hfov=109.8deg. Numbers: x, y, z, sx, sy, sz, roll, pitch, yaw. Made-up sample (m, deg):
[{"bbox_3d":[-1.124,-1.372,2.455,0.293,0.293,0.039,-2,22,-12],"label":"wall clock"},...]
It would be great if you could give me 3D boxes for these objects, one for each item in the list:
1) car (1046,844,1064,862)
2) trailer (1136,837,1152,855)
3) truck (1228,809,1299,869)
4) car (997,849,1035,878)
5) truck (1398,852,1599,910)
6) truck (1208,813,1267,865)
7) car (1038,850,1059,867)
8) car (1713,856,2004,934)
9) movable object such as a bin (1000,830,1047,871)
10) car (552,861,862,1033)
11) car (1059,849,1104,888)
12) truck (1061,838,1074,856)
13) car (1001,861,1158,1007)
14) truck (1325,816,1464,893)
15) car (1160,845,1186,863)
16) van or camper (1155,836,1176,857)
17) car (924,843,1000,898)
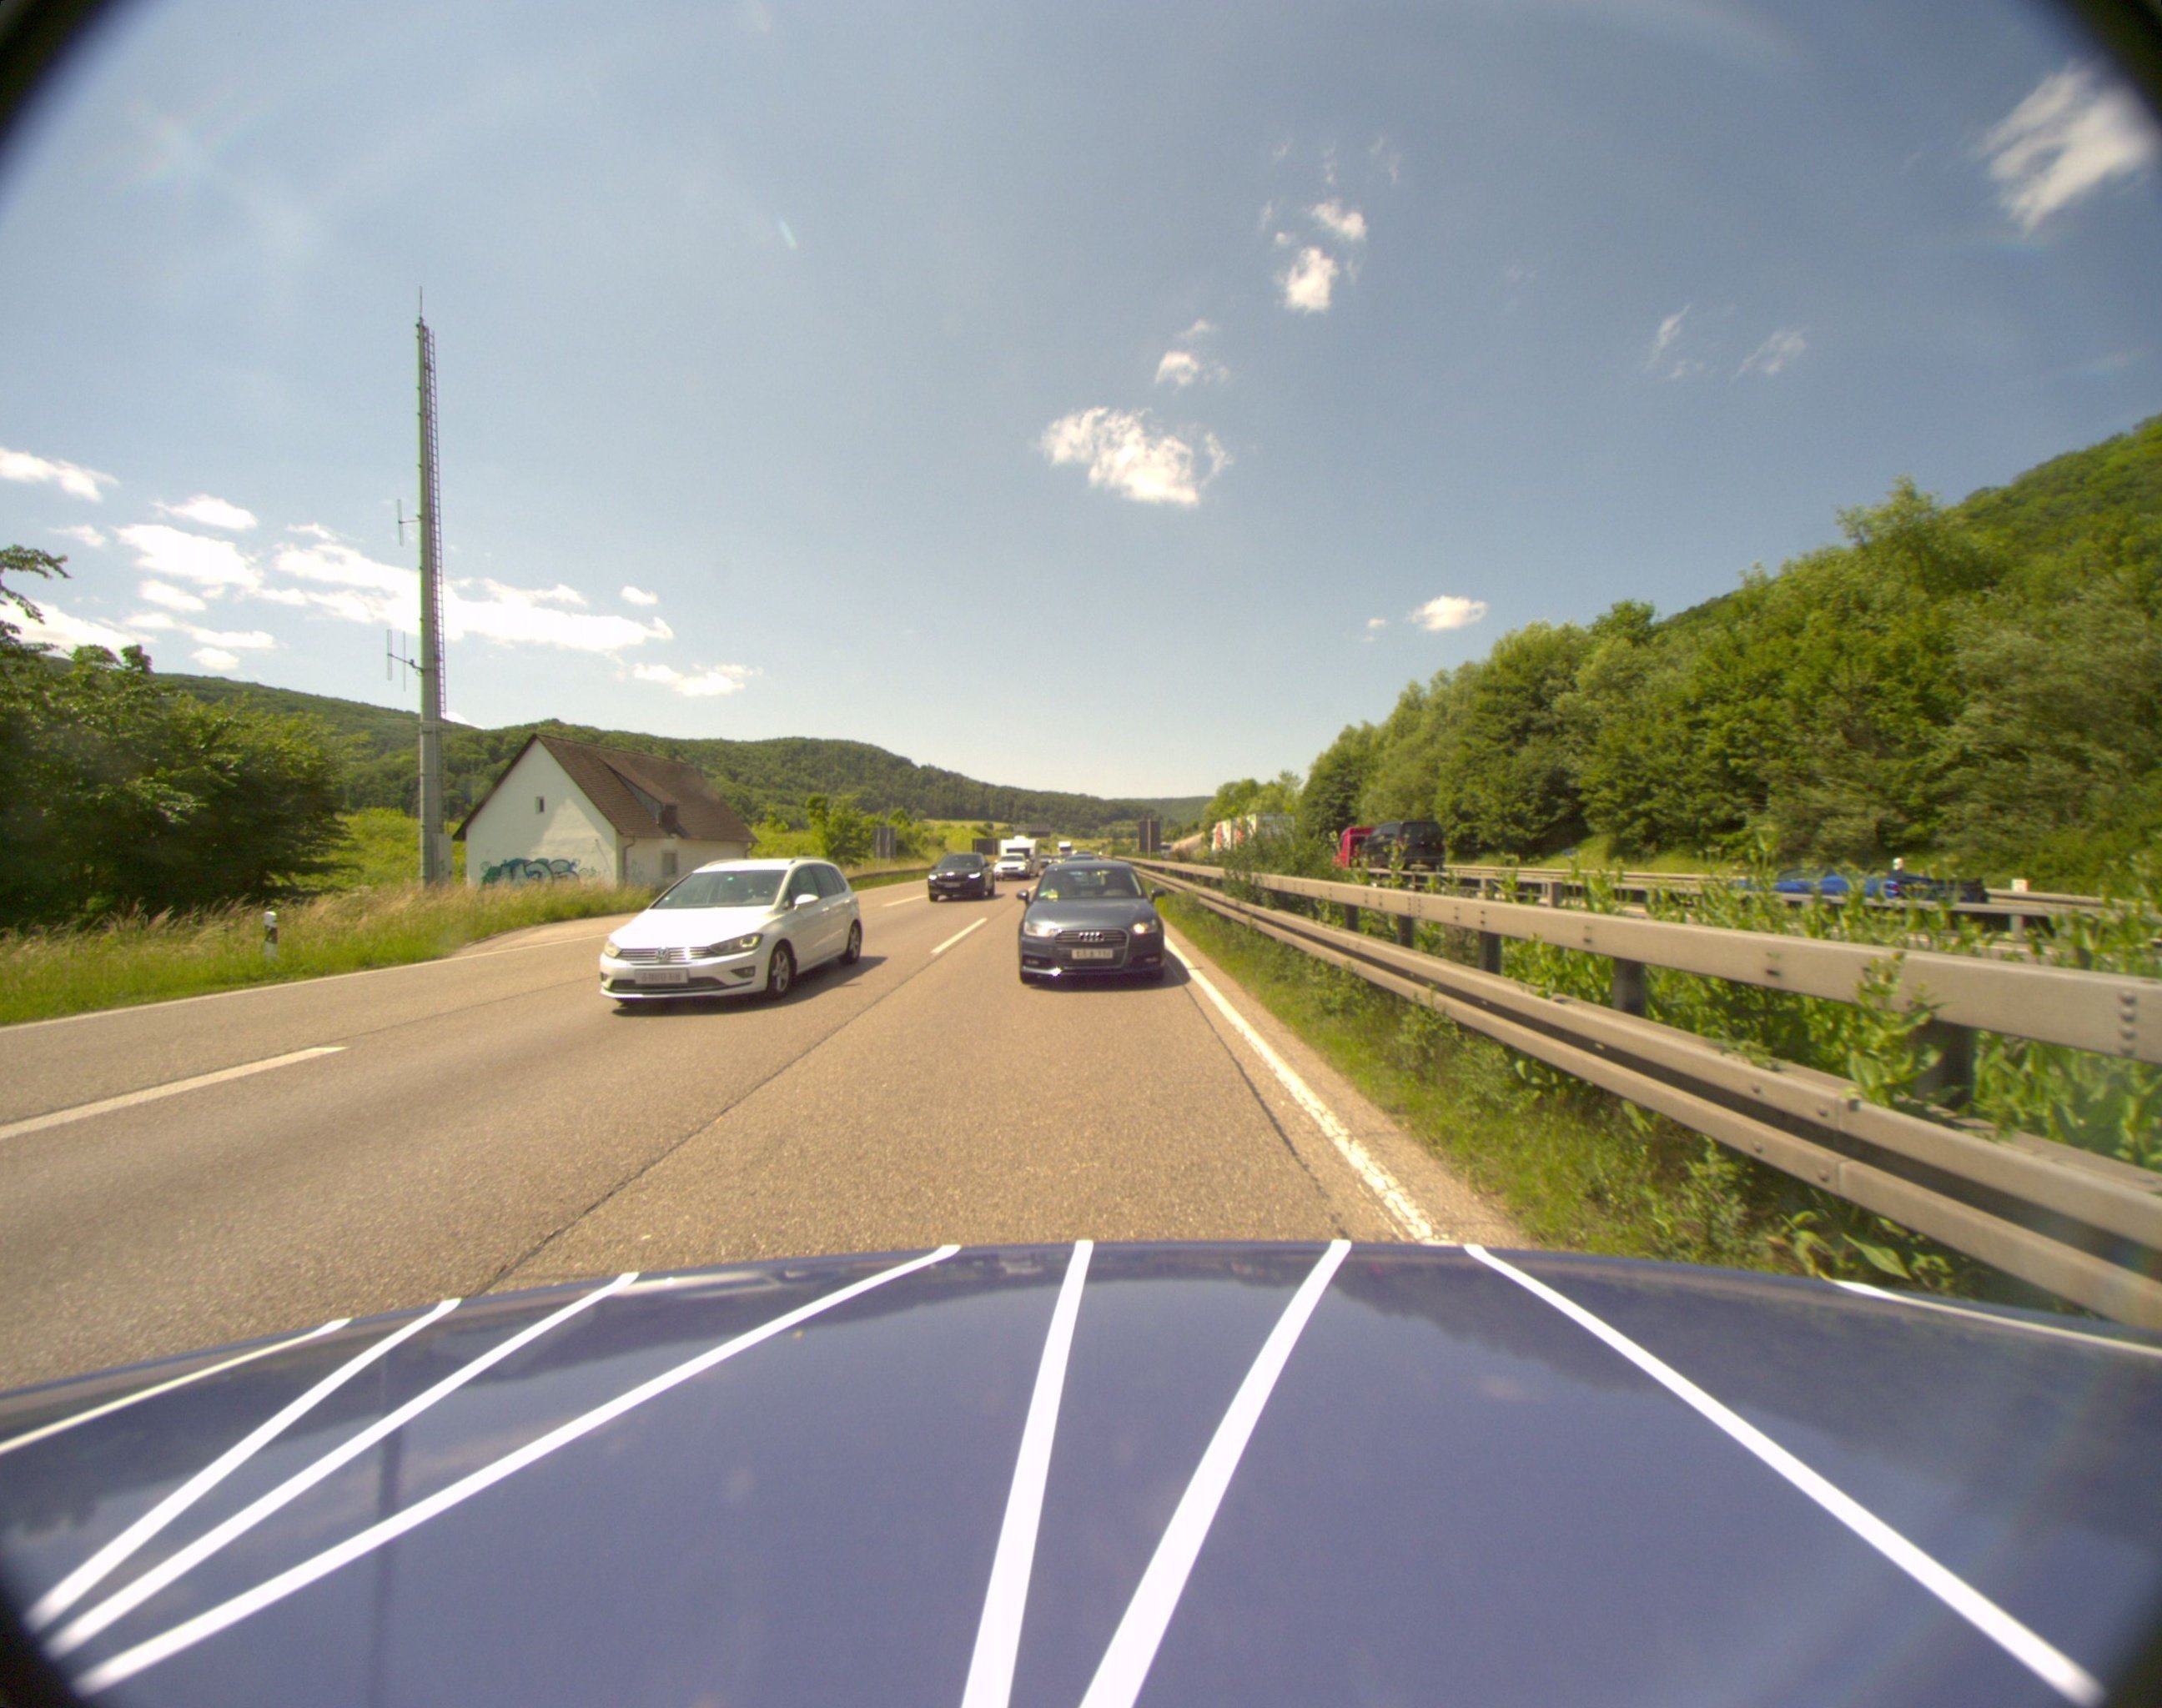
[{"bbox_3d":[-3.125,-0.144,91.825,1.999,2.002,3.999,-1,1,-1],"label":"car"},{"bbox_3d":[14.363,-1.815,173.952,2.789,3.976,14.159,-1,0,1],"label":"trailer"},{"bbox_3d":[12.908,-1.027,54.591,2.876,3.958,9.030,0,1,0],"label":"truck"},{"bbox_3d":[-3.831,0.538,45.364,1.821,1.574,4.000,-2,1,1],"label":"car"},{"bbox_3d":[11.902,0.666,22.505,2.214,1.326,7.009,-1,1,1],"label":"truck"},{"bbox_3d":[13.017,-1.203,64.273,2.876,3.983,10.169,-2,1,0],"label":"truck"},{"bbox_3d":[-3.010,0.362,71.950,1.711,1.542,4.000,-1,0,1],"label":"car"},{"bbox_3d":[16.306,0.778,16.310,1.999,1.348,4.106,-1,1,-1],"label":"car"},{"bbox_3d":[-3.867,-0.258,52.217,2.481,2.616,6.708,-2,1,1],"label":"movable object such as a bin"},{"bbox_3d":[-4.168,0.913,9.319,1.777,1.532,4.053,-2,1,-1],"label":"car"},{"bbox_3d":[0.084,0.588,33.955,1.835,1.587,4.000,-1,1,2],"label":"car"},{"bbox_3d":[-2.791,-1.564,159.149,2.336,3.623,7.005,-2,1,1],"label":"truck"},{"bbox_3d":[0.116,0.858,9.880,1.591,1.402,4.001,-2,1,4],"label":"car"},{"bbox_3d":[12.028,-0.024,30.003,2.301,2.573,7.967,-1,1,1],"label":"truck"},{"bbox_3d":[9.219,-0.032,76.329,1.998,1.631,5.031,-2,1,1],"label":"car"},{"bbox_3d":[14.080,-1.189,126.578,2.596,3.316,7.647,-1,1,0],"label":"van or camper"},{"bbox_3d":[-4.092,0.539,26.848,1.893,1.762,4.171,-1,0,2],"label":"car"}]
